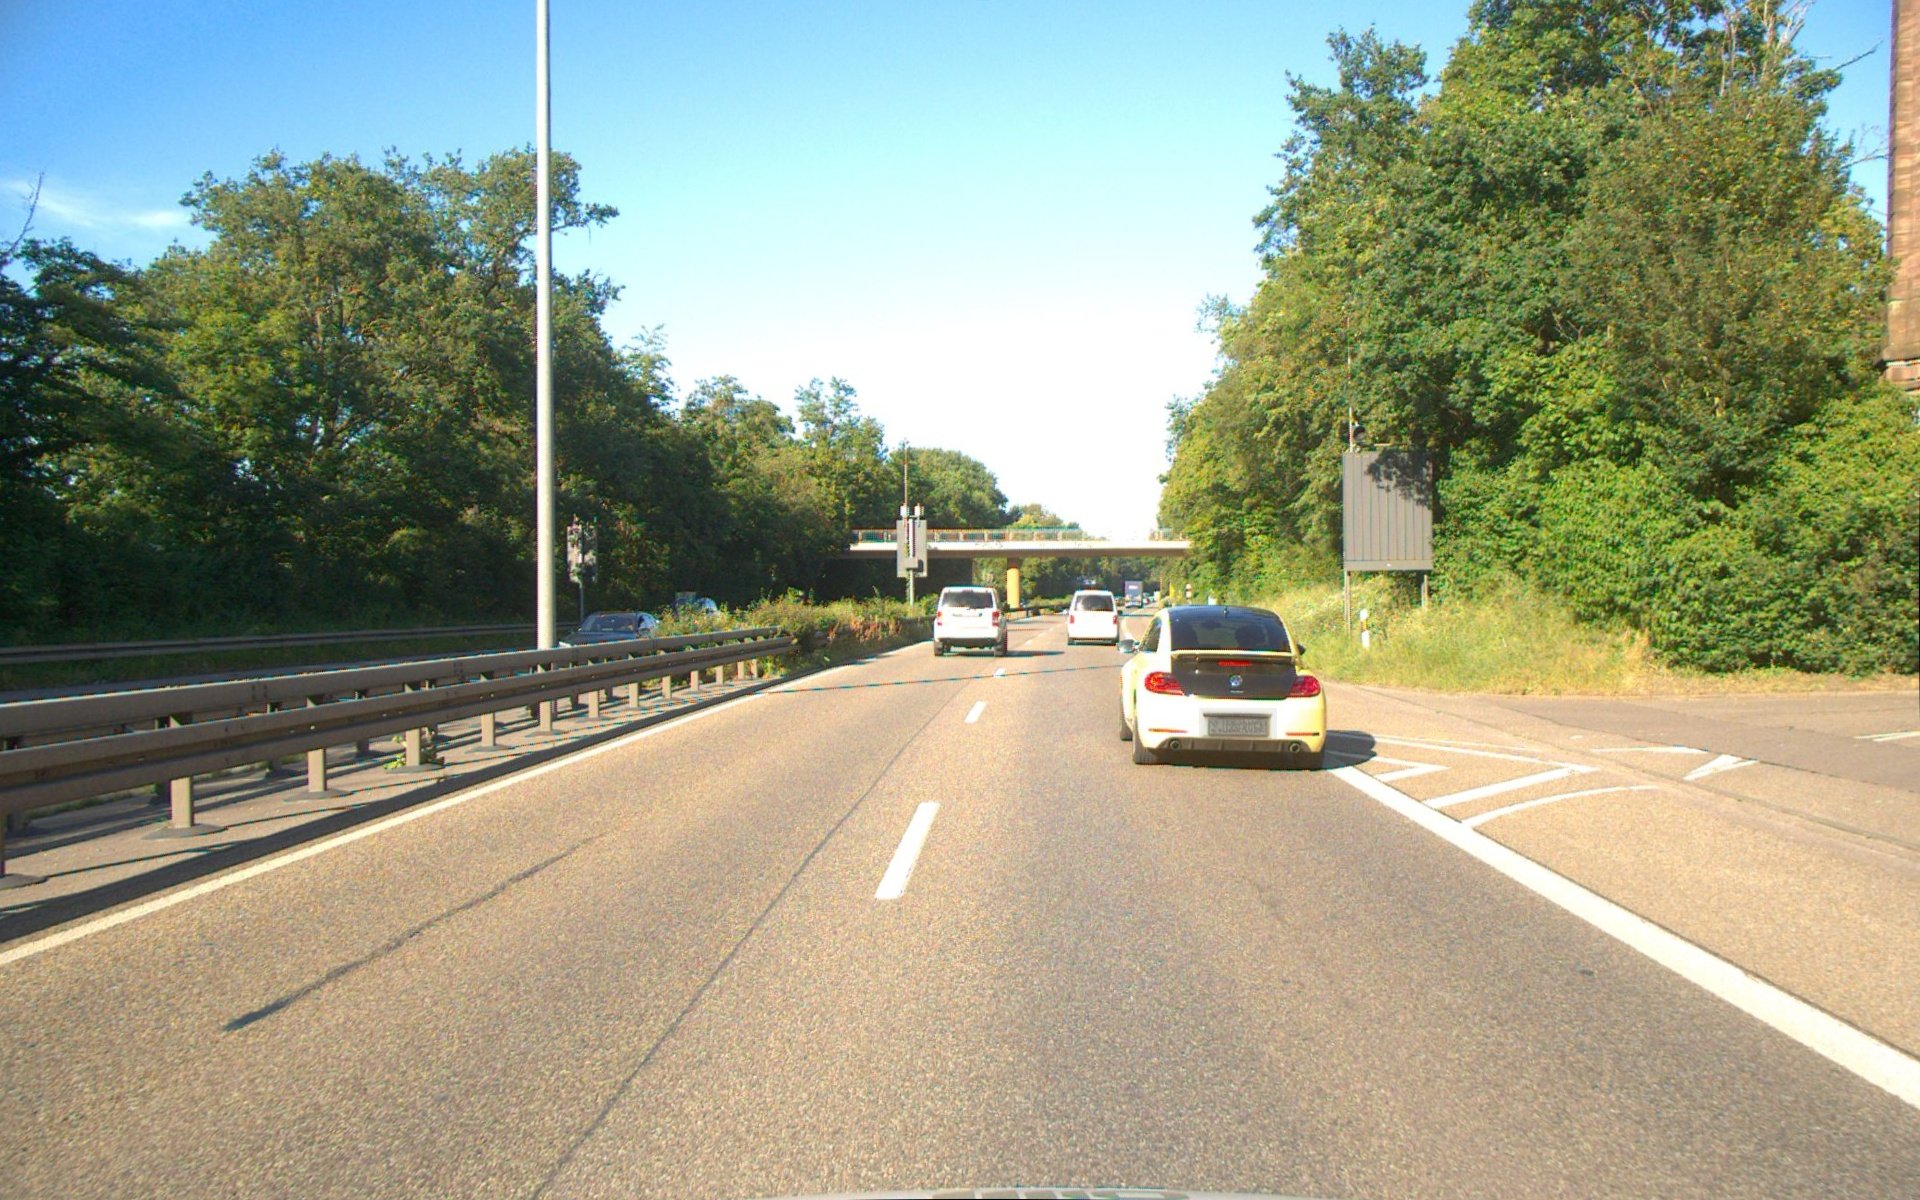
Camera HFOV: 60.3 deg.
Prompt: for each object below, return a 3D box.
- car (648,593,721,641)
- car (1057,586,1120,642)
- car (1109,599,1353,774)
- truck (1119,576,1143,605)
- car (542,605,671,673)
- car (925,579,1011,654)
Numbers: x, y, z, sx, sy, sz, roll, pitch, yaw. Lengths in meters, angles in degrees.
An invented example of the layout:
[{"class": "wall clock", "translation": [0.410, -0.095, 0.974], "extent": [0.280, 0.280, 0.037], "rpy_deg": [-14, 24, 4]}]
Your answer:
[{"class": "car", "translation": [-10.632, 0.628, 64.177], "extent": [1.920, 1.754, 4.745], "rpy_deg": [0, 0, 2]}, {"class": "car", "translation": [4.325, 0.466, 56.140], "extent": [1.825, 1.801, 4.470], "rpy_deg": [-1, 0, 1]}, {"class": "car", "translation": [2.558, 0.753, 16.618], "extent": [1.840, 1.487, 4.357], "rpy_deg": [1, 0, 2]}, {"class": "truck", "translation": [26.060, -1.389, 251.658], "extent": [3.421, 4.246, 8.868], "rpy_deg": [-1, 0, 7]}, {"class": "car", "translation": [-8.440, 0.897, 39.889], "extent": [1.920, 1.493, 4.877], "rpy_deg": [0, 0, 2]}, {"class": "car", "translation": [0.265, 0.422, 43.896], "extent": [2.041, 1.860, 4.002], "rpy_deg": [1, 0, 3]}]
